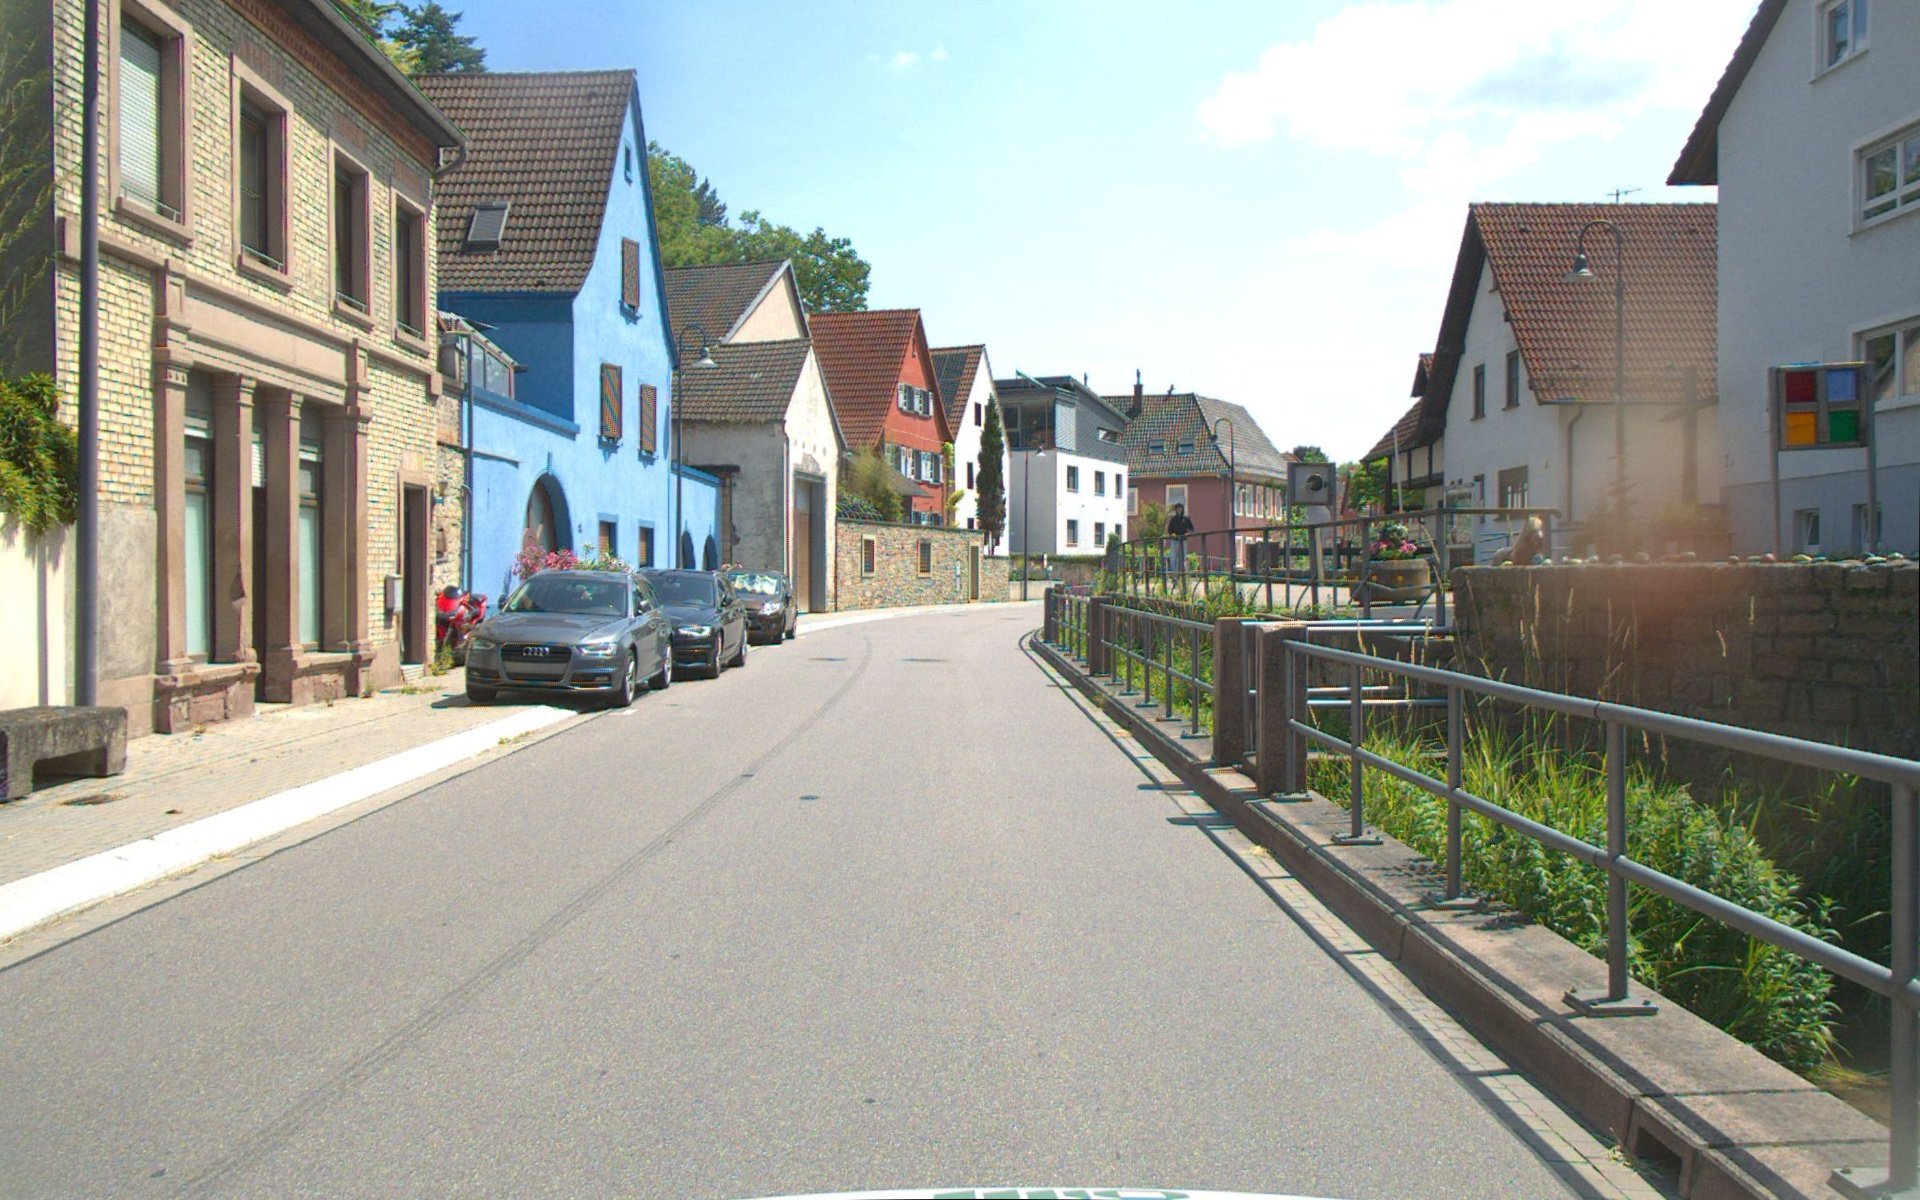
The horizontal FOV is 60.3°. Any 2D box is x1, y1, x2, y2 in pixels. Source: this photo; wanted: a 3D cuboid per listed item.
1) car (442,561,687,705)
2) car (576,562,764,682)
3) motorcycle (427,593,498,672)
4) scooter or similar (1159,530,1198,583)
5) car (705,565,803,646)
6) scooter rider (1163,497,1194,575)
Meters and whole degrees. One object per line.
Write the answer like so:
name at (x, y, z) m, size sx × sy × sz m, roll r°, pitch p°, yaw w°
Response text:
car at (-4.513, 0.338, 19.585) m, size 1.917 × 1.491 × 4.544 m, roll 1°, pitch 0°, yaw -2°
car at (-4.173, 0.239, 24.550) m, size 1.846 × 1.489 × 4.669 m, roll 3°, pitch 2°, yaw 1°
motorcycle at (-6.855, 0.429, 22.844) m, size 0.409 × 1.018 × 1.858 m, roll 4°, pitch 0°, yaw -2°
scooter or similar at (4.972, -0.973, 37.713) m, size 0.628 × 1.162 × 1.811 m, roll -1°, pitch 1°, yaw 0°
car at (-4.275, 0.075, 34.751) m, size 1.682 × 1.556 × 3.855 m, roll -1°, pitch 2°, yaw -2°
scooter rider at (4.967, -1.456, 37.637) m, size 0.628 × 1.762 × 0.554 m, roll 1°, pitch 0°, yaw 0°
